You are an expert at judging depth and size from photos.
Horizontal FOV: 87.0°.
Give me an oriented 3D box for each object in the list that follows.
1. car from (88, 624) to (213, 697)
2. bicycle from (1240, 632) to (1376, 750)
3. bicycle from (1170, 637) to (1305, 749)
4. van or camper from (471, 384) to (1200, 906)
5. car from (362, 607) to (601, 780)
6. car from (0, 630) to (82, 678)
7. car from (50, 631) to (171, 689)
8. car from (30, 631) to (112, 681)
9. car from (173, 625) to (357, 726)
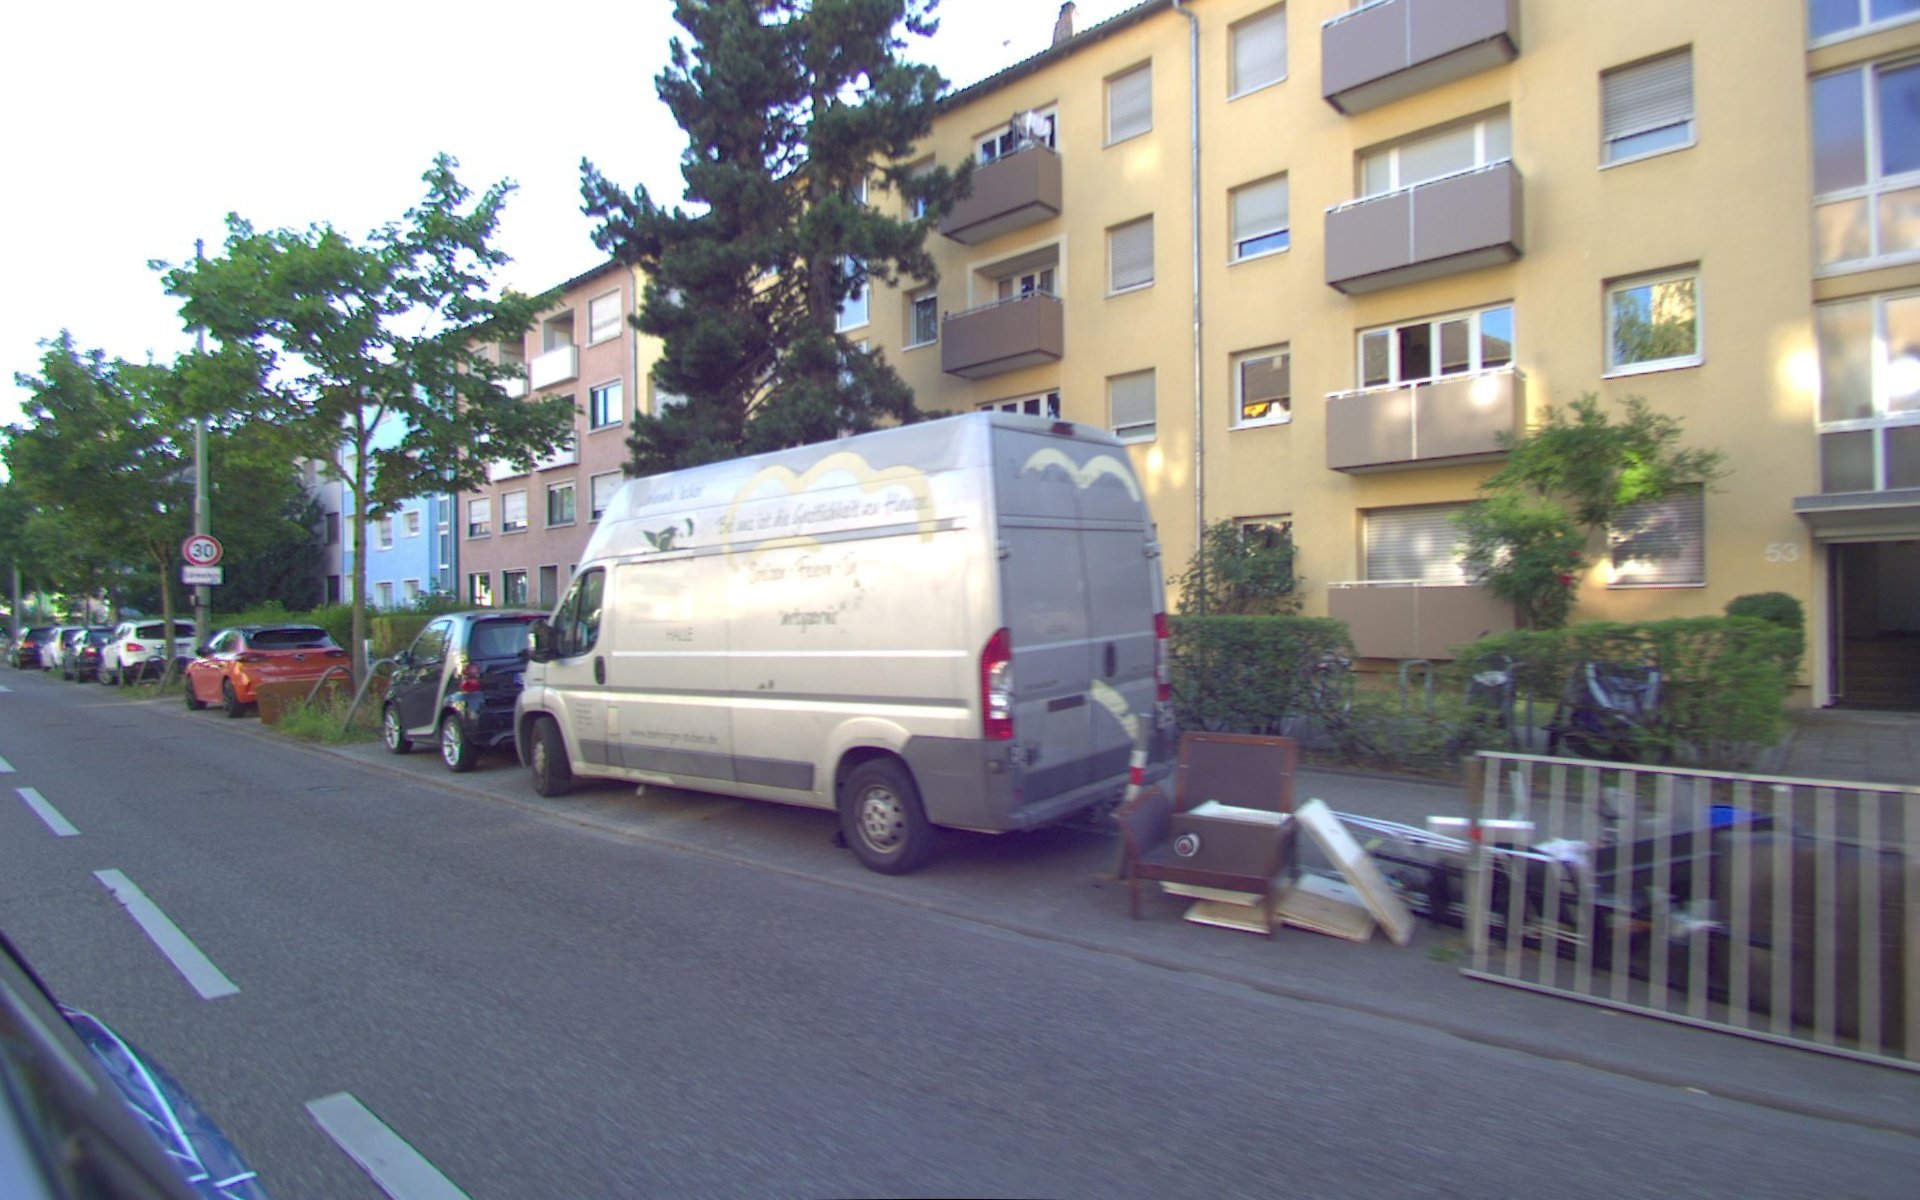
[{"bbox_3d":[-19.924,1.424,24.848,4.185,1.600,1.757,-2,-1,42],"label":"car"},{"bbox_3d":[3.469,0.848,9.999,0.590,0.989,1.766,-2,0,43],"label":"bicycle"},{"bbox_3d":[2.913,0.922,10.504,0.590,0.989,1.739,-2,0,43],"label":"bicycle"},{"bbox_3d":[-1.384,0.270,7.906,6.010,2.684,2.015,-2,1,40],"label":"van or camper"},{"bbox_3d":[-5.210,0.914,10.905,2.762,1.560,1.388,-2,0,44],"label":"car"},{"bbox_3d":[-33.077,1.902,36.374,4.315,1.529,1.817,-2,0,43],"label":"car"},{"bbox_3d":[-23.739,1.620,28.220,4.457,1.459,1.972,-2,-2,42],"label":"car"},{"bbox_3d":[-29.106,1.788,33.115,3.640,1.503,1.574,-1,0,42],"label":"car"},{"bbox_3d":[-11.859,1.216,17.169,3.922,1.463,1.699,-2,-1,42],"label":"car"}]
